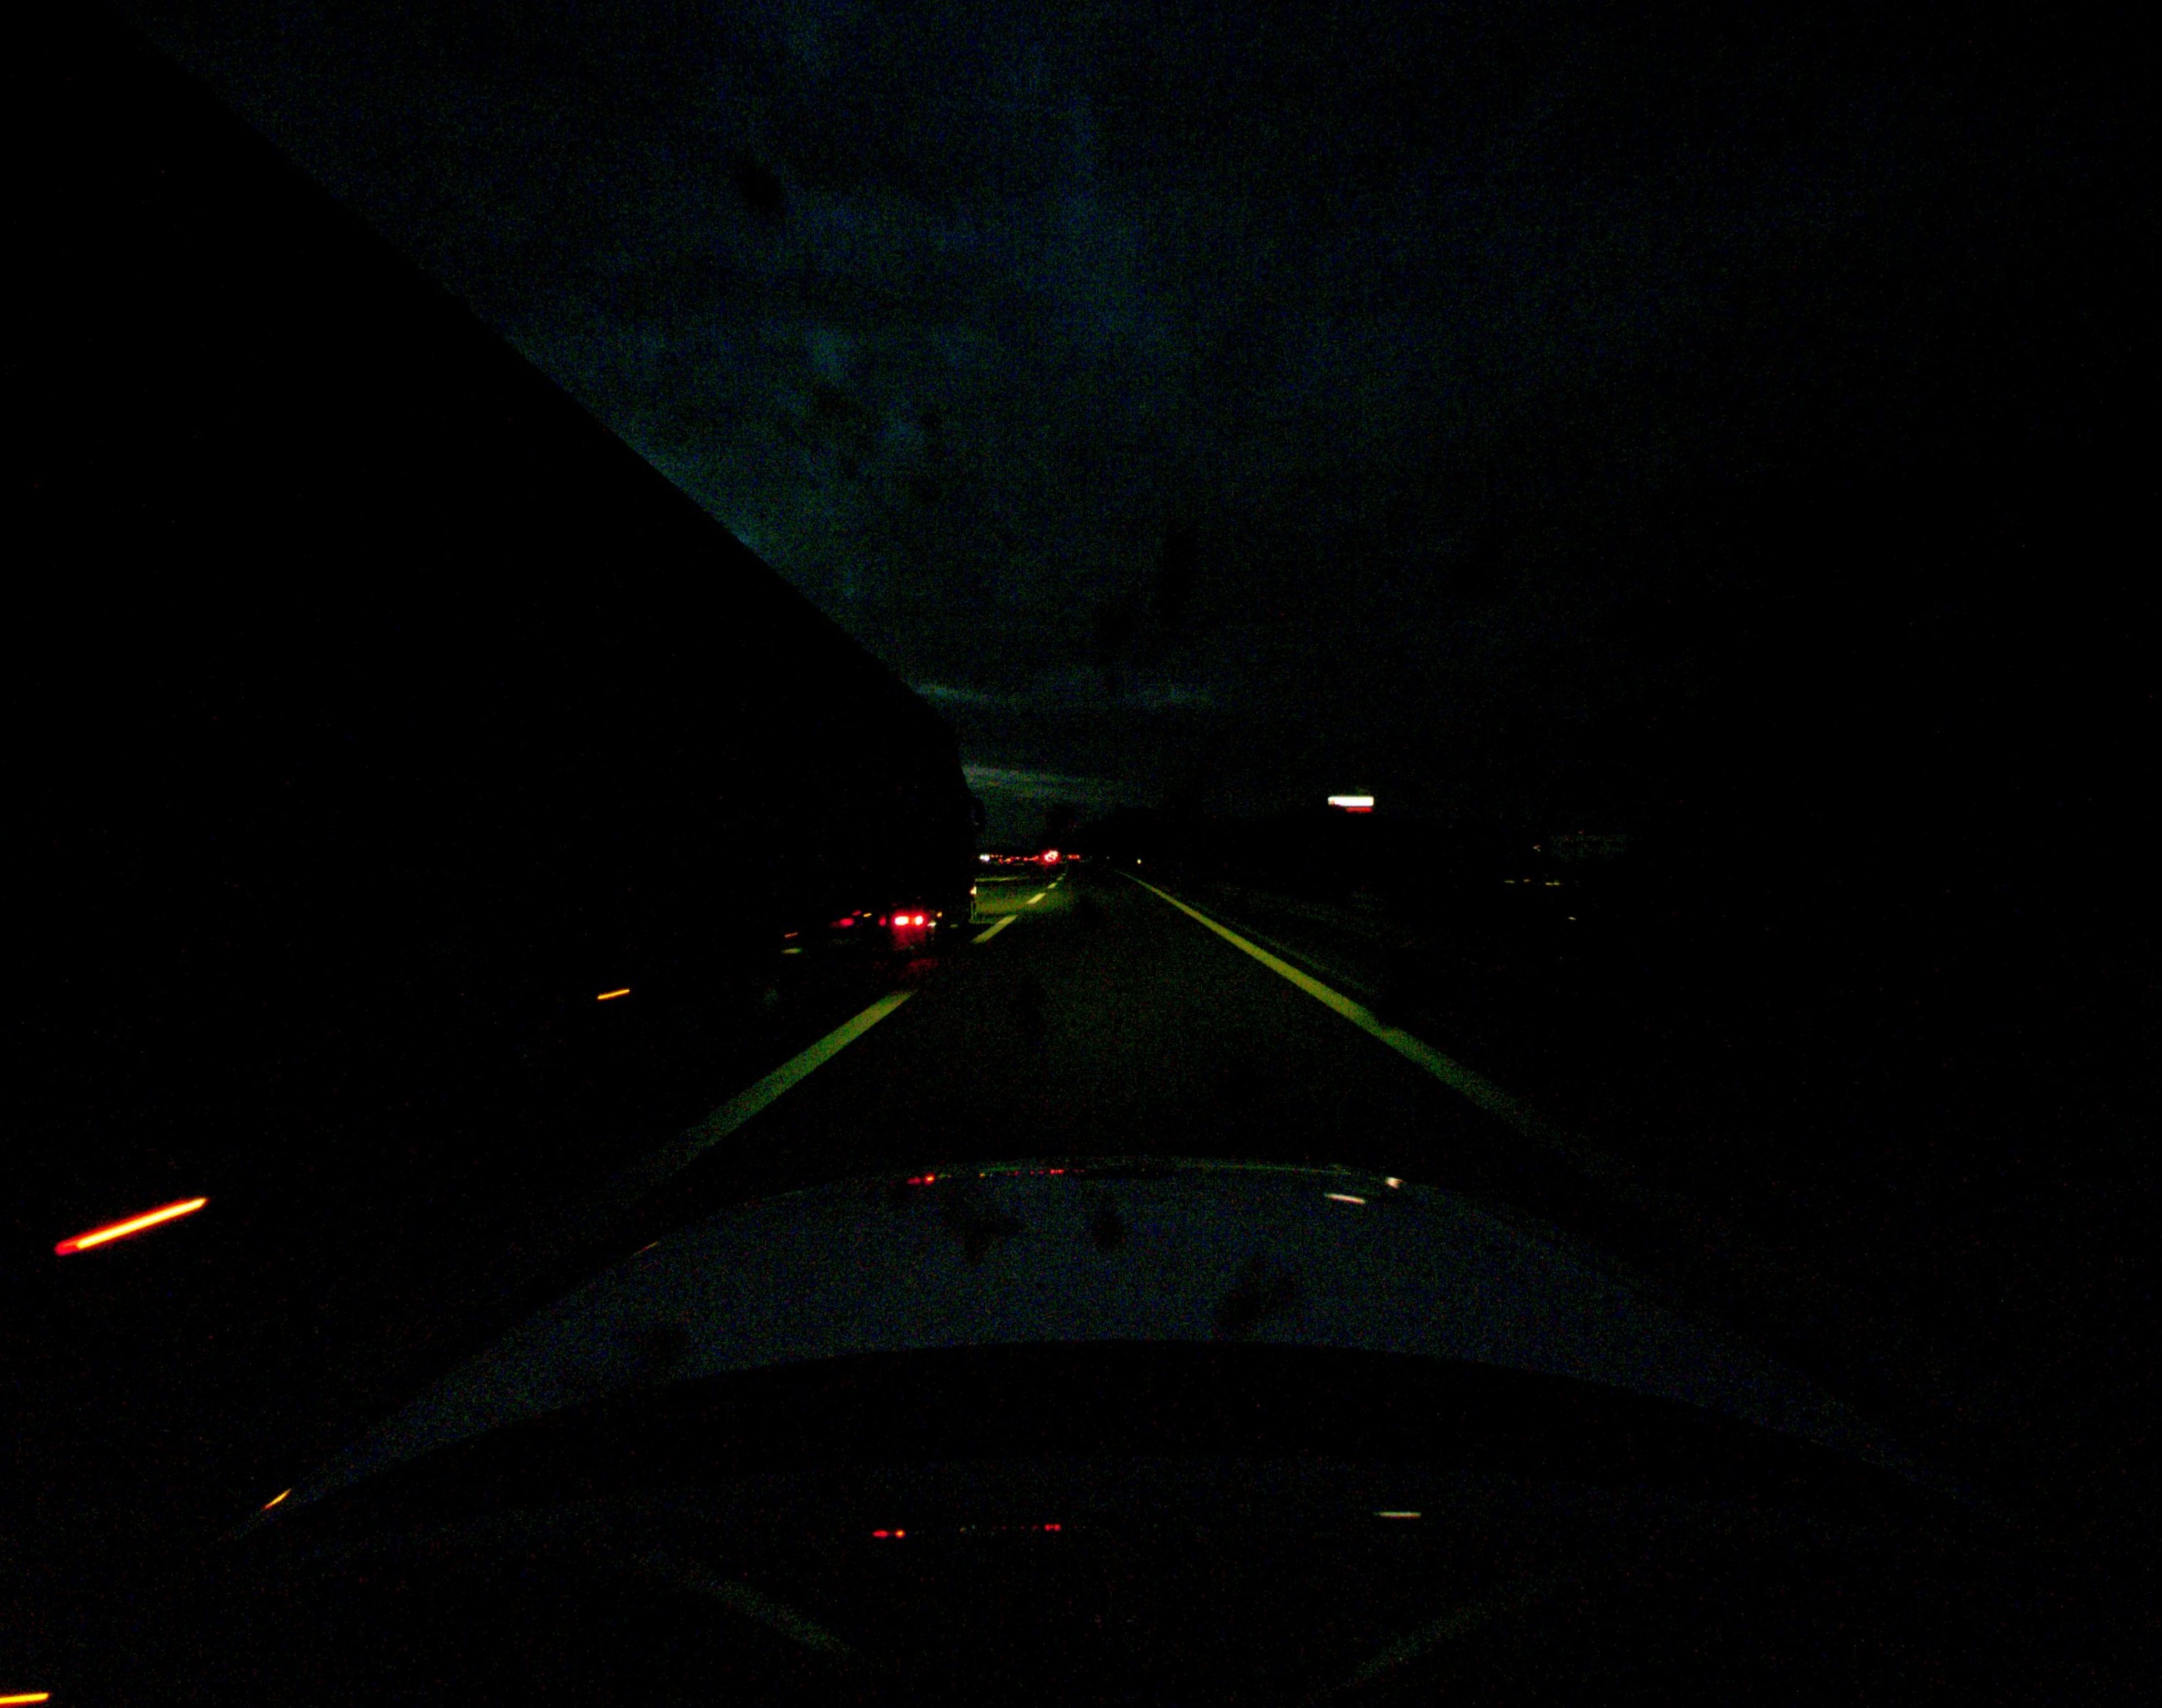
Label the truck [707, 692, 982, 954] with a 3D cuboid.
[{"bbox_3d":[-4.130,-0.491,16.012,3.539,4.091,6.150,-1,0,0],"label":"truck"}]

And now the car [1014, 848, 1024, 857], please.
[{"bbox_3d":[-14.726,-0.342,193.643,1.987,2.014,3.999,0,-3,1],"label":"car"}]

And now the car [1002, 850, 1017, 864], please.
[{"bbox_3d":[-11.219,0.506,127.599,1.987,2.047,3.998,0,-3,0],"label":"car"}]

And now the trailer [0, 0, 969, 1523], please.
[{"bbox_3d":[-4.176,-0.509,8.984,3.538,4.116,15.064,-1,0,1],"label":"trailer"}]

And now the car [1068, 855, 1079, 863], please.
[{"bbox_3d":[-1.327,0.908,144.780,1.987,1.354,3.998,0,-3,0],"label":"car"}]

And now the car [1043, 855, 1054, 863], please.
[{"bbox_3d":[-5.954,0.964,151.175,1.879,1.354,3.998,0,-3,0],"label":"car"}]

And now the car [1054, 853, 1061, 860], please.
[{"bbox_3d":[-7.298,0.734,250.966,1.987,2.014,3.998,0,-3,0],"label":"car"}]

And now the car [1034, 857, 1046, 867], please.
[{"bbox_3d":[-8.409,1.643,167.854,1.985,2.014,4.002,0,-3,3],"label":"car"}]

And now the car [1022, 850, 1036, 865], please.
[{"bbox_3d":[-8.130,0.571,127.609,1.987,2.080,3.998,0,-3,0],"label":"car"}]
